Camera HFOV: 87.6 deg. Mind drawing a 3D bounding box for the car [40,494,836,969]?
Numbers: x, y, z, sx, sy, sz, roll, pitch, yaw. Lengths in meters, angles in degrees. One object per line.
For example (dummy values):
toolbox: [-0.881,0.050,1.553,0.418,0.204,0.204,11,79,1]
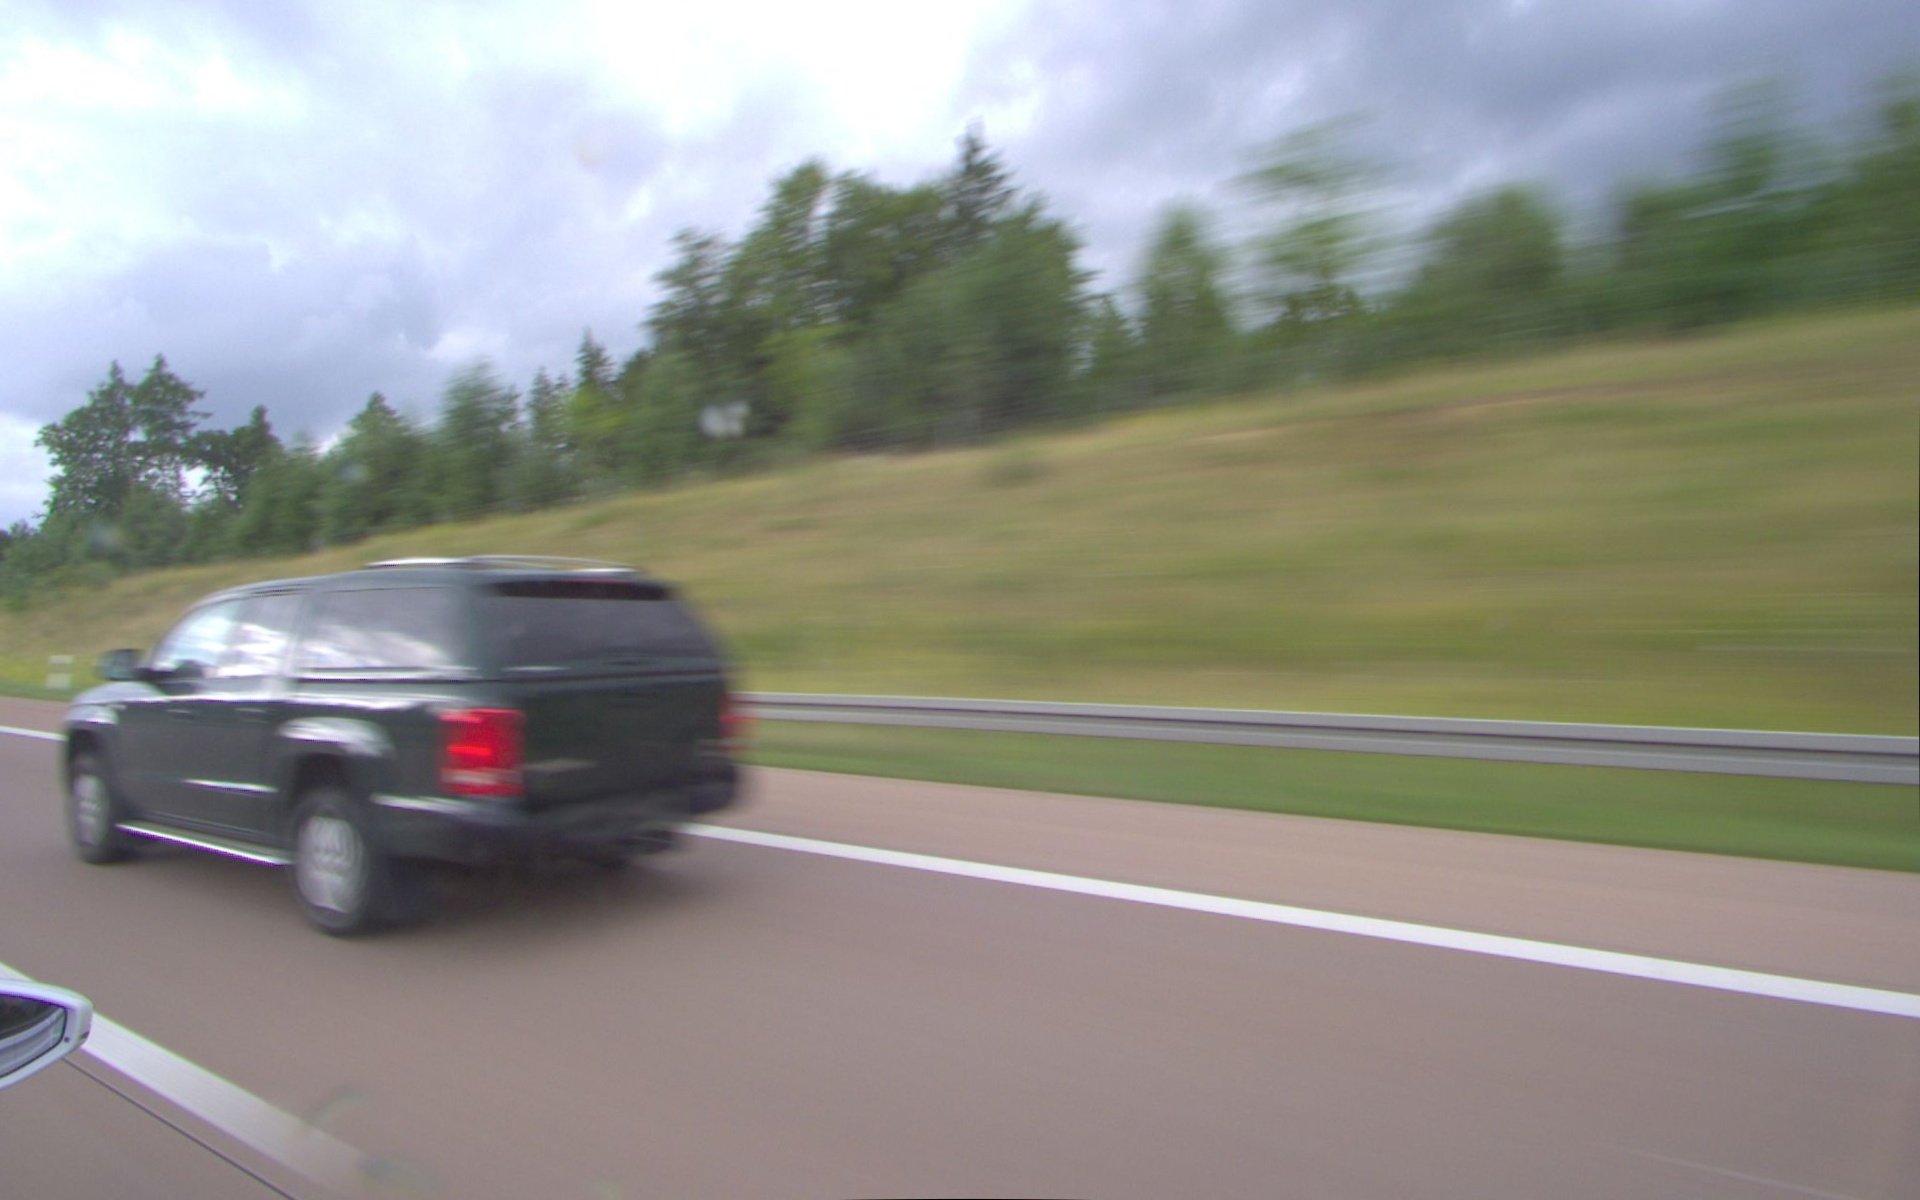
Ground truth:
car: [-3.581,0.618,6.405,5.498,1.921,2.040,-2,-1,32]
